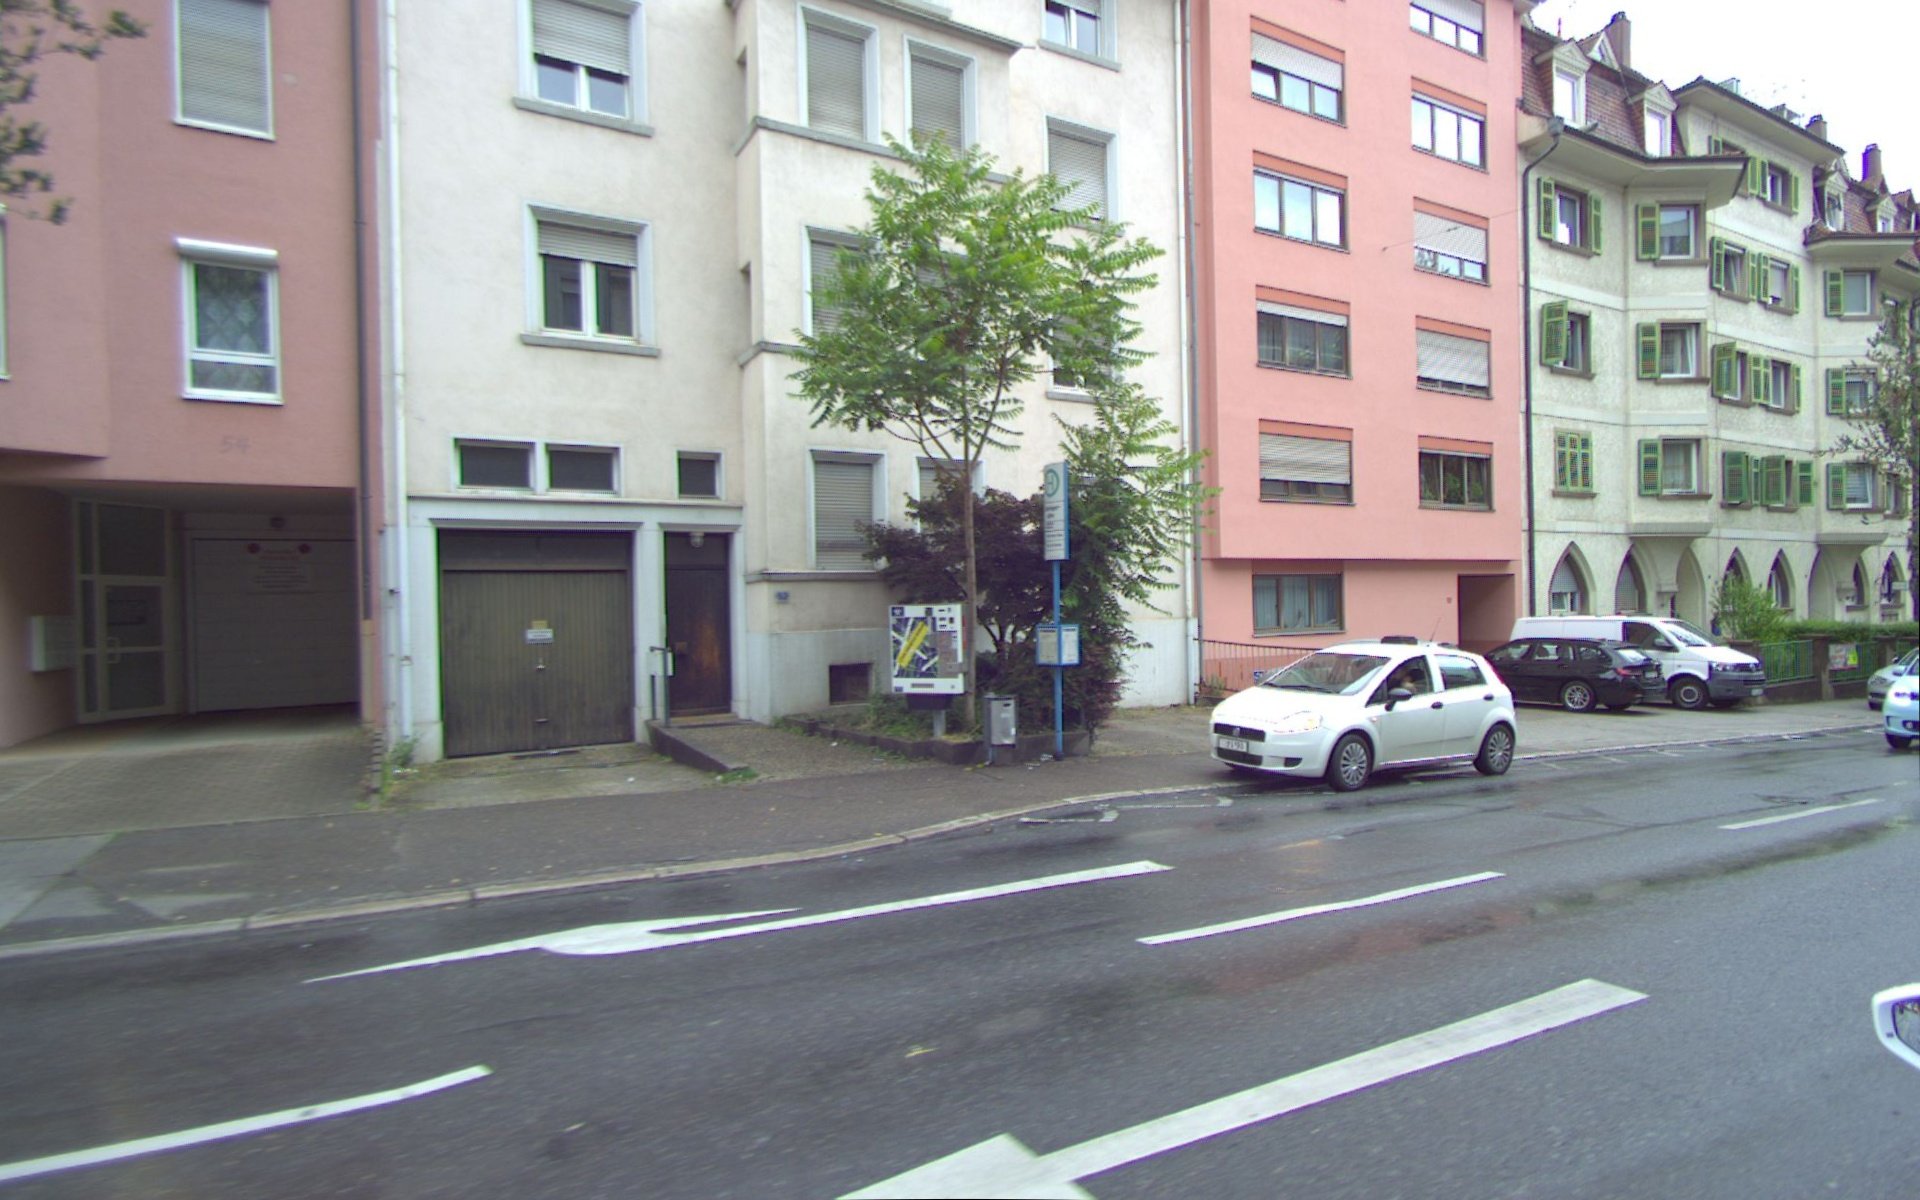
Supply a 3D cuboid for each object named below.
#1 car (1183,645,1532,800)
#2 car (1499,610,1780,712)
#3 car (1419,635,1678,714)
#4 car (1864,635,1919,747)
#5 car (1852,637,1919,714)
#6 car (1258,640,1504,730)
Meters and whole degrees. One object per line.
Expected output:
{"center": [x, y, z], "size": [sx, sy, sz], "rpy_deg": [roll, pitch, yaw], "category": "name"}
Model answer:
{"center": [4.602, 1.273, 11.516], "size": [3.956, 1.465, 1.614], "rpy_deg": [1, -2, -29], "category": "car"}
{"center": [14.918, 1.292, 22.395], "size": [2.023, 2.000, 4.808], "rpy_deg": [1, -2, -29], "category": "car"}
{"center": [12.207, 1.473, 21.138], "size": [1.772, 1.471, 4.408], "rpy_deg": [1, -2, -32], "category": "car"}
{"center": [14.776, 1.259, 14.381], "size": [3.710, 1.528, 1.629], "rpy_deg": [1, -4, -30], "category": "car"}
{"center": [21.063, 1.612, 21.499], "size": [3.941, 1.503, 1.718], "rpy_deg": [2, 0, -29], "category": "car"}
{"center": [7.667, 1.476, 18.601], "size": [1.775, 1.476, 3.854], "rpy_deg": [2, -3, -37], "category": "car"}
